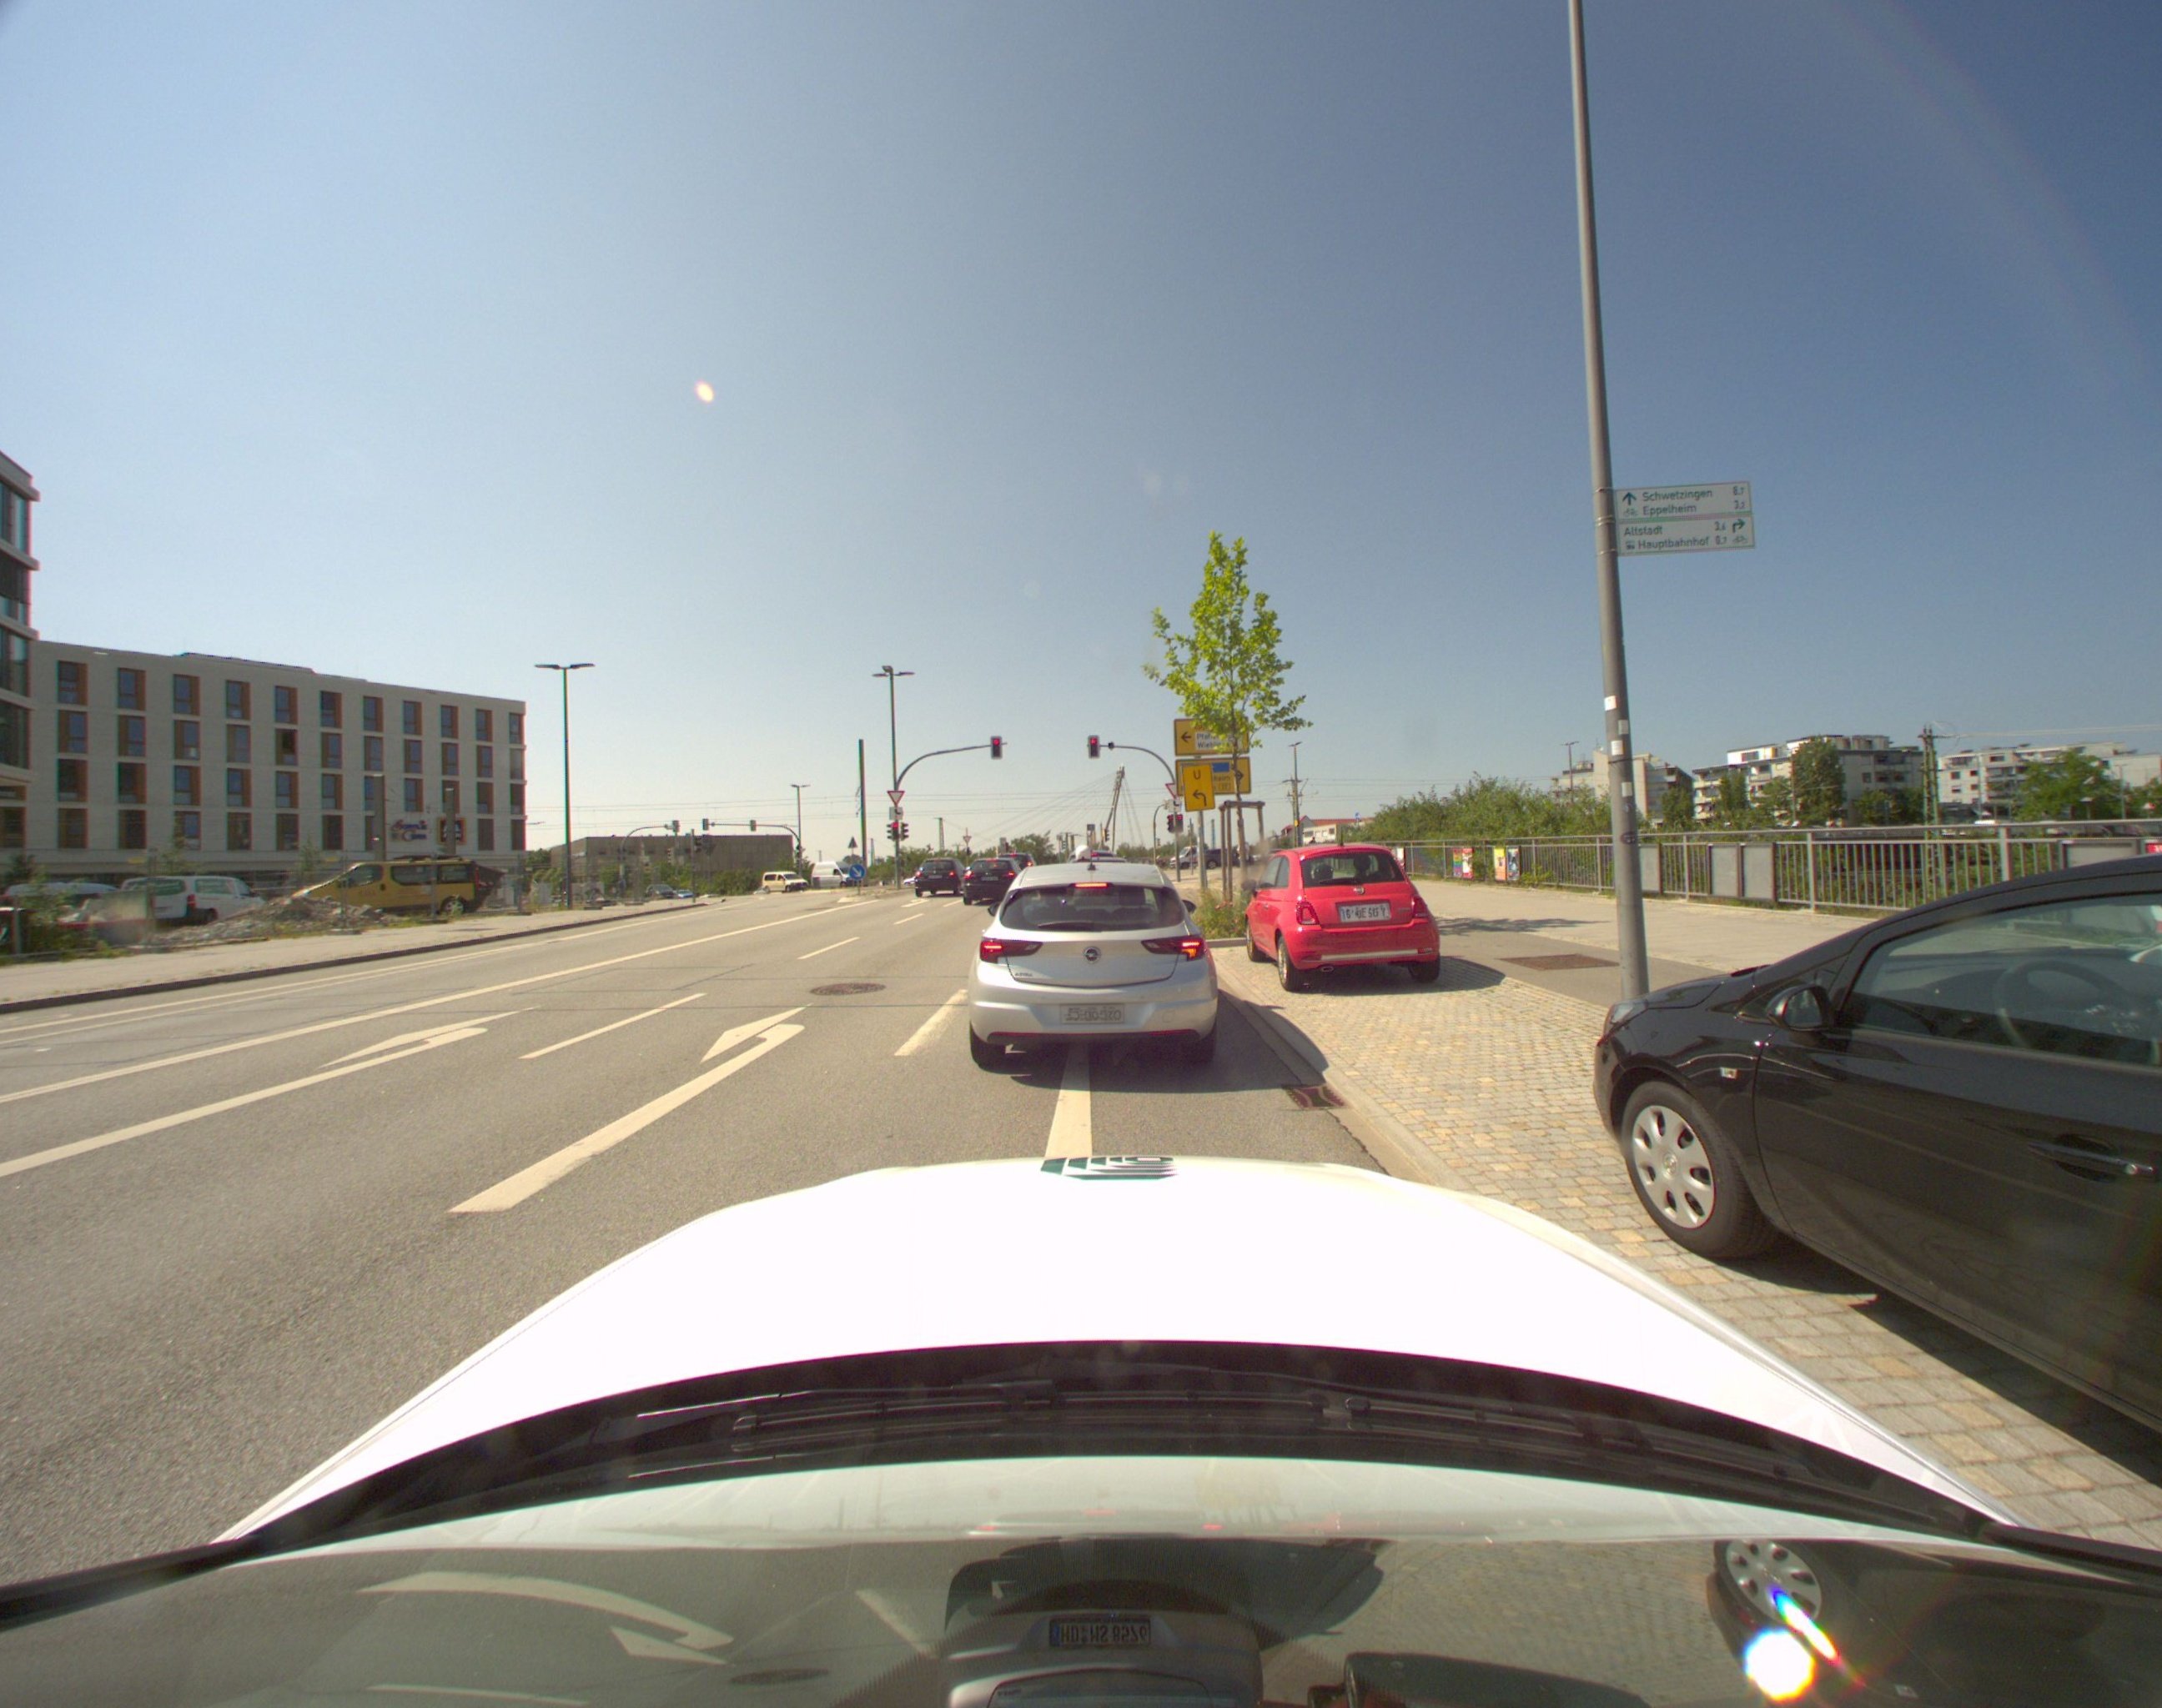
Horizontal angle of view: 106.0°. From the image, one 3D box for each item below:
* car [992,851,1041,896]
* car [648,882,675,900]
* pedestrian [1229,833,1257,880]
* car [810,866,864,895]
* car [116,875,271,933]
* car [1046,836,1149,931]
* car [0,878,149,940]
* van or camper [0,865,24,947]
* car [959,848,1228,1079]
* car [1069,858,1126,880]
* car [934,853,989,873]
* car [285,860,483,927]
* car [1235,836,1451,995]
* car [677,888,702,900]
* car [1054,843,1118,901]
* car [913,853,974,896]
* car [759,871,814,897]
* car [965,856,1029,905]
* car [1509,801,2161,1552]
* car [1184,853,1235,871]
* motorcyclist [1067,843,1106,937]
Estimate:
[{"bbox_3d":[-2.461,0.732,31.797,1.644,1.615,3.819,0,-1,0],"label":"car"},{"bbox_3d":[-38.585,3.348,74.833,1.686,1.476,3.368,-2,0,-37],"label":"car"},{"bbox_3d":[6.398,0.104,32.230,0.800,1.836,0.643,-2,-1,-31],"label":"pedestrian"},{"bbox_3d":[-20.736,2.265,69.140,4.951,2.376,1.795,-2,-1,36],"label":"car"},{"bbox_3d":[-31.030,1.683,28.686,1.873,1.774,4.619,0,-1,-22],"label":"car"},{"bbox_3d":[0.387,0.558,17.893,1.986,1.820,4.404,0,0,2],"label":"car"},{"bbox_3d":[-33.625,1.764,27.249,1.794,1.857,3.818,0,-1,-26],"label":"car"},{"bbox_3d":[-36.497,1.711,25.391,2.318,2.735,4.944,0,-1,-26],"label":"van or camper"},{"bbox_3d":[0.065,0.721,7.280,1.738,1.478,3.998,0,-1,-1],"label":"car"},{"bbox_3d":[1.304,1.146,62.751,4.255,1.631,1.758,-1,-1,5],"label":"car"},{"bbox_3d":[-9.342,0.718,63.799,3.971,1.483,2.001,0,-1,2],"label":"car"},{"bbox_3d":[-22.619,1.186,26.578,1.964,1.962,4.655,-1,-1,40],"label":"car"},{"bbox_3d":[2.932,0.610,9.820,1.603,1.496,3.355,-4,0,3],"label":"car"},{"bbox_3d":[-46.720,4.796,97.133,1.831,1.331,3.954,0,-2,-38],"label":"car"},{"bbox_3d":[0.197,0.457,23.942,1.717,1.563,4.002,0,1,2],"label":"car"},{"bbox_3d":[-5.229,0.763,31.304,1.591,1.547,3.764,0,-1,2],"label":"car"},{"bbox_3d":[-24.614,2.465,68.047,4.656,2.014,2.013,-1,-1,35],"label":"car"},{"bbox_3d":[-2.599,0.785,25.921,1.569,1.434,3.786,0,-1,1],"label":"car"},{"bbox_3d":[2.885,0.587,1.921,1.654,1.426,4.001,-4,-1,2],"label":"car"},{"bbox_3d":[10.071,0.627,64.045,3.710,1.384,1.583,-1,-1,-6],"label":"car"},{"bbox_3d":[0.093,0.540,12.485,0.579,1.389,0.707,0,-1,1],"label":"motorcyclist"}]
